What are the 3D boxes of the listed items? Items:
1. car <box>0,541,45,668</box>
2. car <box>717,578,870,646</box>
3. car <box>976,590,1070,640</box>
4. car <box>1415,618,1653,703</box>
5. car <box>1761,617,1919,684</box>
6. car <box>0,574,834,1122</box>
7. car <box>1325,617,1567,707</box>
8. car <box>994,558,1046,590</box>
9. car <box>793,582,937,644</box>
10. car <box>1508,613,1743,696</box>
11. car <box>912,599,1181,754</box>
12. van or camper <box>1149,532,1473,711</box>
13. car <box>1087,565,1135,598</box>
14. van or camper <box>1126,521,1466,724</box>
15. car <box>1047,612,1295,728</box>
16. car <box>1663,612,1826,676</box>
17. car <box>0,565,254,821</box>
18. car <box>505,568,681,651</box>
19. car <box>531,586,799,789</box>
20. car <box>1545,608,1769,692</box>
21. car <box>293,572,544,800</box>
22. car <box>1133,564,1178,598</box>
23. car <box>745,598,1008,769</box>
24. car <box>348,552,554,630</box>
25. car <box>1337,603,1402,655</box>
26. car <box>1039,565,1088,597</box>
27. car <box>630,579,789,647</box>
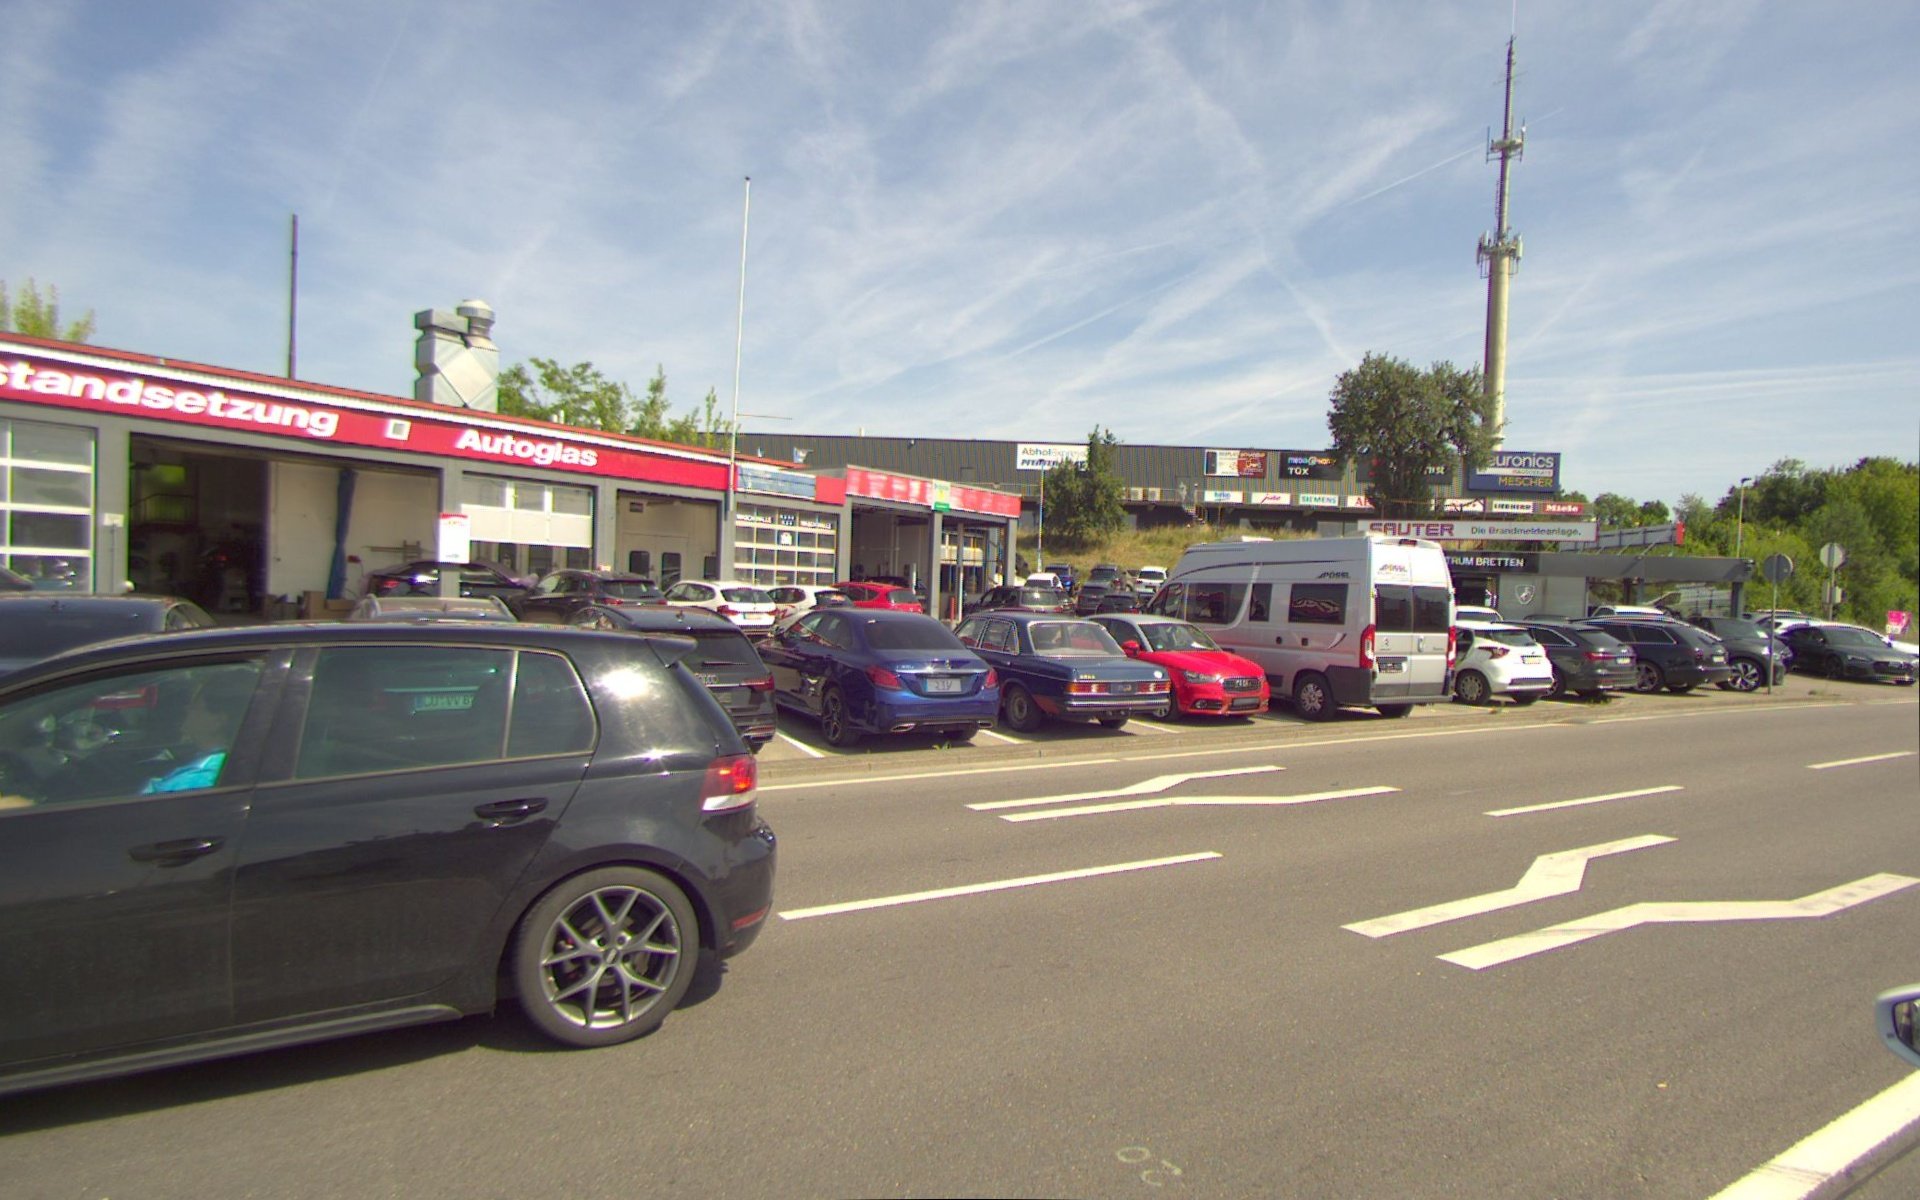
[{"bbox_3d":[-15.229,-0.033,13.409,1.797,1.696,4.115,8,3,35],"label":"car"},{"bbox_3d":[-4.300,0.280,25.762,3.768,1.609,1.762,1,-1,37],"label":"car"},{"bbox_3d":[2.084,0.501,34.469,1.743,1.609,3.809,1,-1,-22],"label":"car"},{"bbox_3d":[11.510,1.150,20.385,1.821,1.467,3.797,1,-1,-31],"label":"car"},{"bbox_3d":[25.341,1.380,28.813,2.089,1.715,4.530,1,-1,16],"label":"car"},{"bbox_3d":[-2.564,0.671,3.548,3.879,1.428,1.659,1,-2,-30],"label":"car"},{"bbox_3d":[9.174,1.101,19.247,1.821,1.467,3.797,1,-1,-31],"label":"car"},{"bbox_3d":[3.158,-1.309,51.993,1.702,1.470,3.749,2,0,19],"label":"car"},{"bbox_3d":[-2.662,0.338,27.802,3.768,1.609,1.762,1,-1,37],"label":"car"},{"bbox_3d":[14.106,1.091,21.499,1.821,1.560,3.797,1,-1,-31],"label":"car"},{"bbox_3d":[1.006,0.887,13.462,1.688,1.505,3.687,1,4,-31],"label":"car"},{"bbox_3d":[6.456,0.324,19.411,2.262,2.912,5.864,1,1,-30],"label":"van or camper"},{"bbox_3d":[7.725,-0.917,51.144,1.702,1.470,3.749,2,0,19],"label":"car"},{"bbox_3d":[5.244,0.300,16.574,2.183,2.768,5.223,1,0,-28],"label":"van or camper"},{"bbox_3d":[3.065,0.962,15.251,1.790,1.500,3.578,1,-1,-29],"label":"car"},{"bbox_3d":[23.167,1.253,29.853,1.806,1.716,3.829,1,-1,-1],"label":"car"},{"bbox_3d":[-7.404,0.580,8.605,1.777,1.505,4.277,1,4,-30],"label":"car"},{"bbox_3d":[-7.619,0.173,20.727,3.892,1.553,1.760,1,-1,41],"label":"car"},{"bbox_3d":[-3.297,0.744,10.688,1.782,1.505,3.823,1,4,-31],"label":"car"},{"bbox_3d":[15.725,1.064,22.848,1.821,1.697,3.797,1,-1,-31],"label":"car"},{"bbox_3d":[-5.436,0.625,9.961,1.752,1.505,4.434,1,4,-31],"label":"car"},{"bbox_3d":[9.905,-0.917,50.628,1.702,1.558,3.749,2,0,19],"label":"car"},{"bbox_3d":[-1.157,0.831,12.043,1.688,1.577,3.688,0,2,-31],"label":"car"},{"bbox_3d":[-11.993,-0.156,23.804,3.986,1.694,1.888,2,-1,-43],"label":"car"},{"bbox_3d":[13.825,0.946,33.809,1.736,1.609,3.825,1,-1,27],"label":"car"},{"bbox_3d":[5.385,-0.962,51.972,1.702,1.470,3.749,2,0,19],"label":"car"},{"bbox_3d":[-5.879,0.282,23.374,3.774,1.451,1.760,1,-1,42],"label":"car"}]
